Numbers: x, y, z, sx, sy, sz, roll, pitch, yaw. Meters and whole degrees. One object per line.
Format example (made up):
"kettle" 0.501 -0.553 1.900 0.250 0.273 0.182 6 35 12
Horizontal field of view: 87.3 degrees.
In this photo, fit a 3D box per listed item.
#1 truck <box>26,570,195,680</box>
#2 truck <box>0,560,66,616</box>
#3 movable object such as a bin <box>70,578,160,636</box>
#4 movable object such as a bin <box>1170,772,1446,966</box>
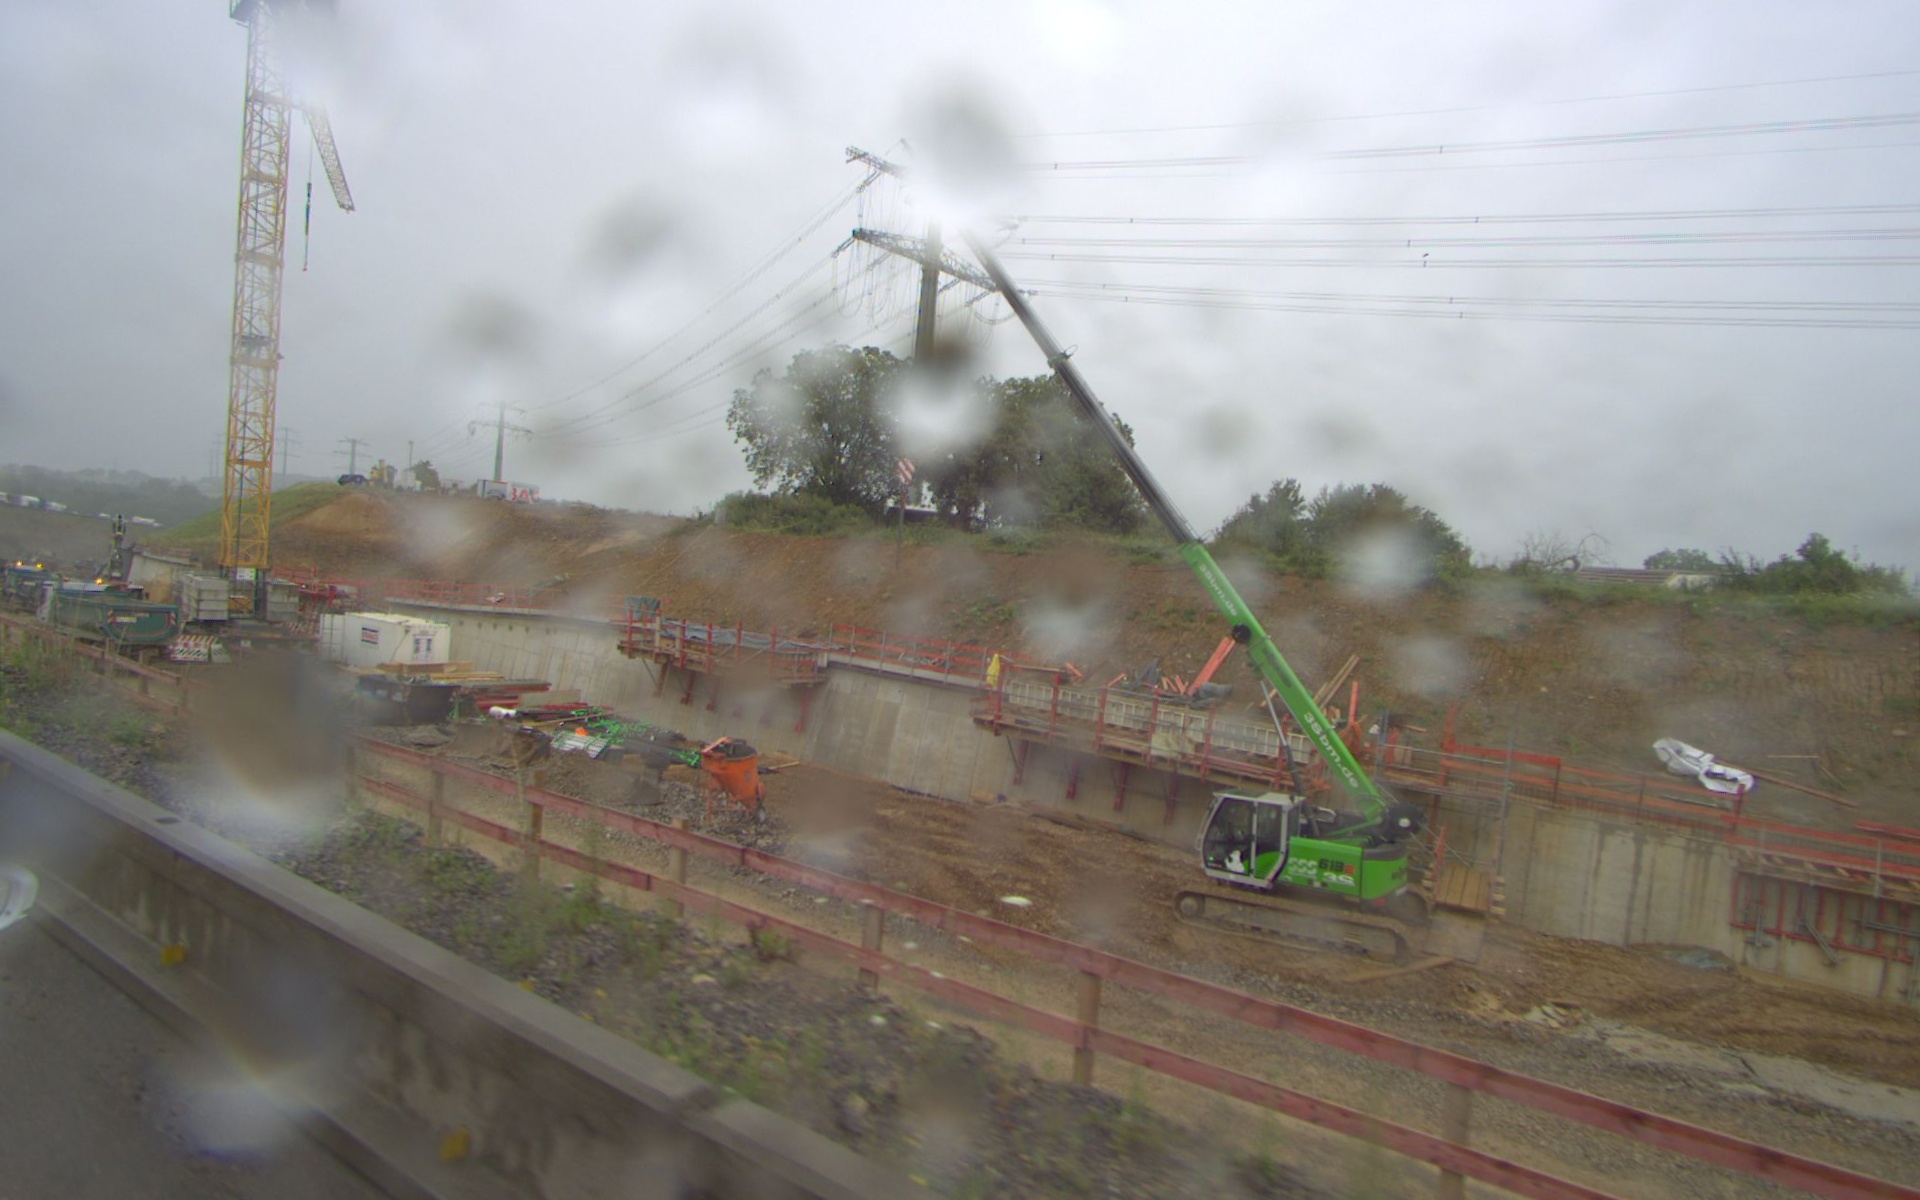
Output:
"truck" -35.661 0.980 42.101 8.803 3.544 2.703 6 -1 33
"truck" -72.230 -0.996 78.243 8.940 3.531 2.727 5 -2 42
"movable object such as a bin" -48.054 0.430 57.247 2.924 2.770 3.151 6 -2 37
"movable object such as a bin" 7.431 5.413 21.303 4.779 2.836 3.797 0 -4 32
